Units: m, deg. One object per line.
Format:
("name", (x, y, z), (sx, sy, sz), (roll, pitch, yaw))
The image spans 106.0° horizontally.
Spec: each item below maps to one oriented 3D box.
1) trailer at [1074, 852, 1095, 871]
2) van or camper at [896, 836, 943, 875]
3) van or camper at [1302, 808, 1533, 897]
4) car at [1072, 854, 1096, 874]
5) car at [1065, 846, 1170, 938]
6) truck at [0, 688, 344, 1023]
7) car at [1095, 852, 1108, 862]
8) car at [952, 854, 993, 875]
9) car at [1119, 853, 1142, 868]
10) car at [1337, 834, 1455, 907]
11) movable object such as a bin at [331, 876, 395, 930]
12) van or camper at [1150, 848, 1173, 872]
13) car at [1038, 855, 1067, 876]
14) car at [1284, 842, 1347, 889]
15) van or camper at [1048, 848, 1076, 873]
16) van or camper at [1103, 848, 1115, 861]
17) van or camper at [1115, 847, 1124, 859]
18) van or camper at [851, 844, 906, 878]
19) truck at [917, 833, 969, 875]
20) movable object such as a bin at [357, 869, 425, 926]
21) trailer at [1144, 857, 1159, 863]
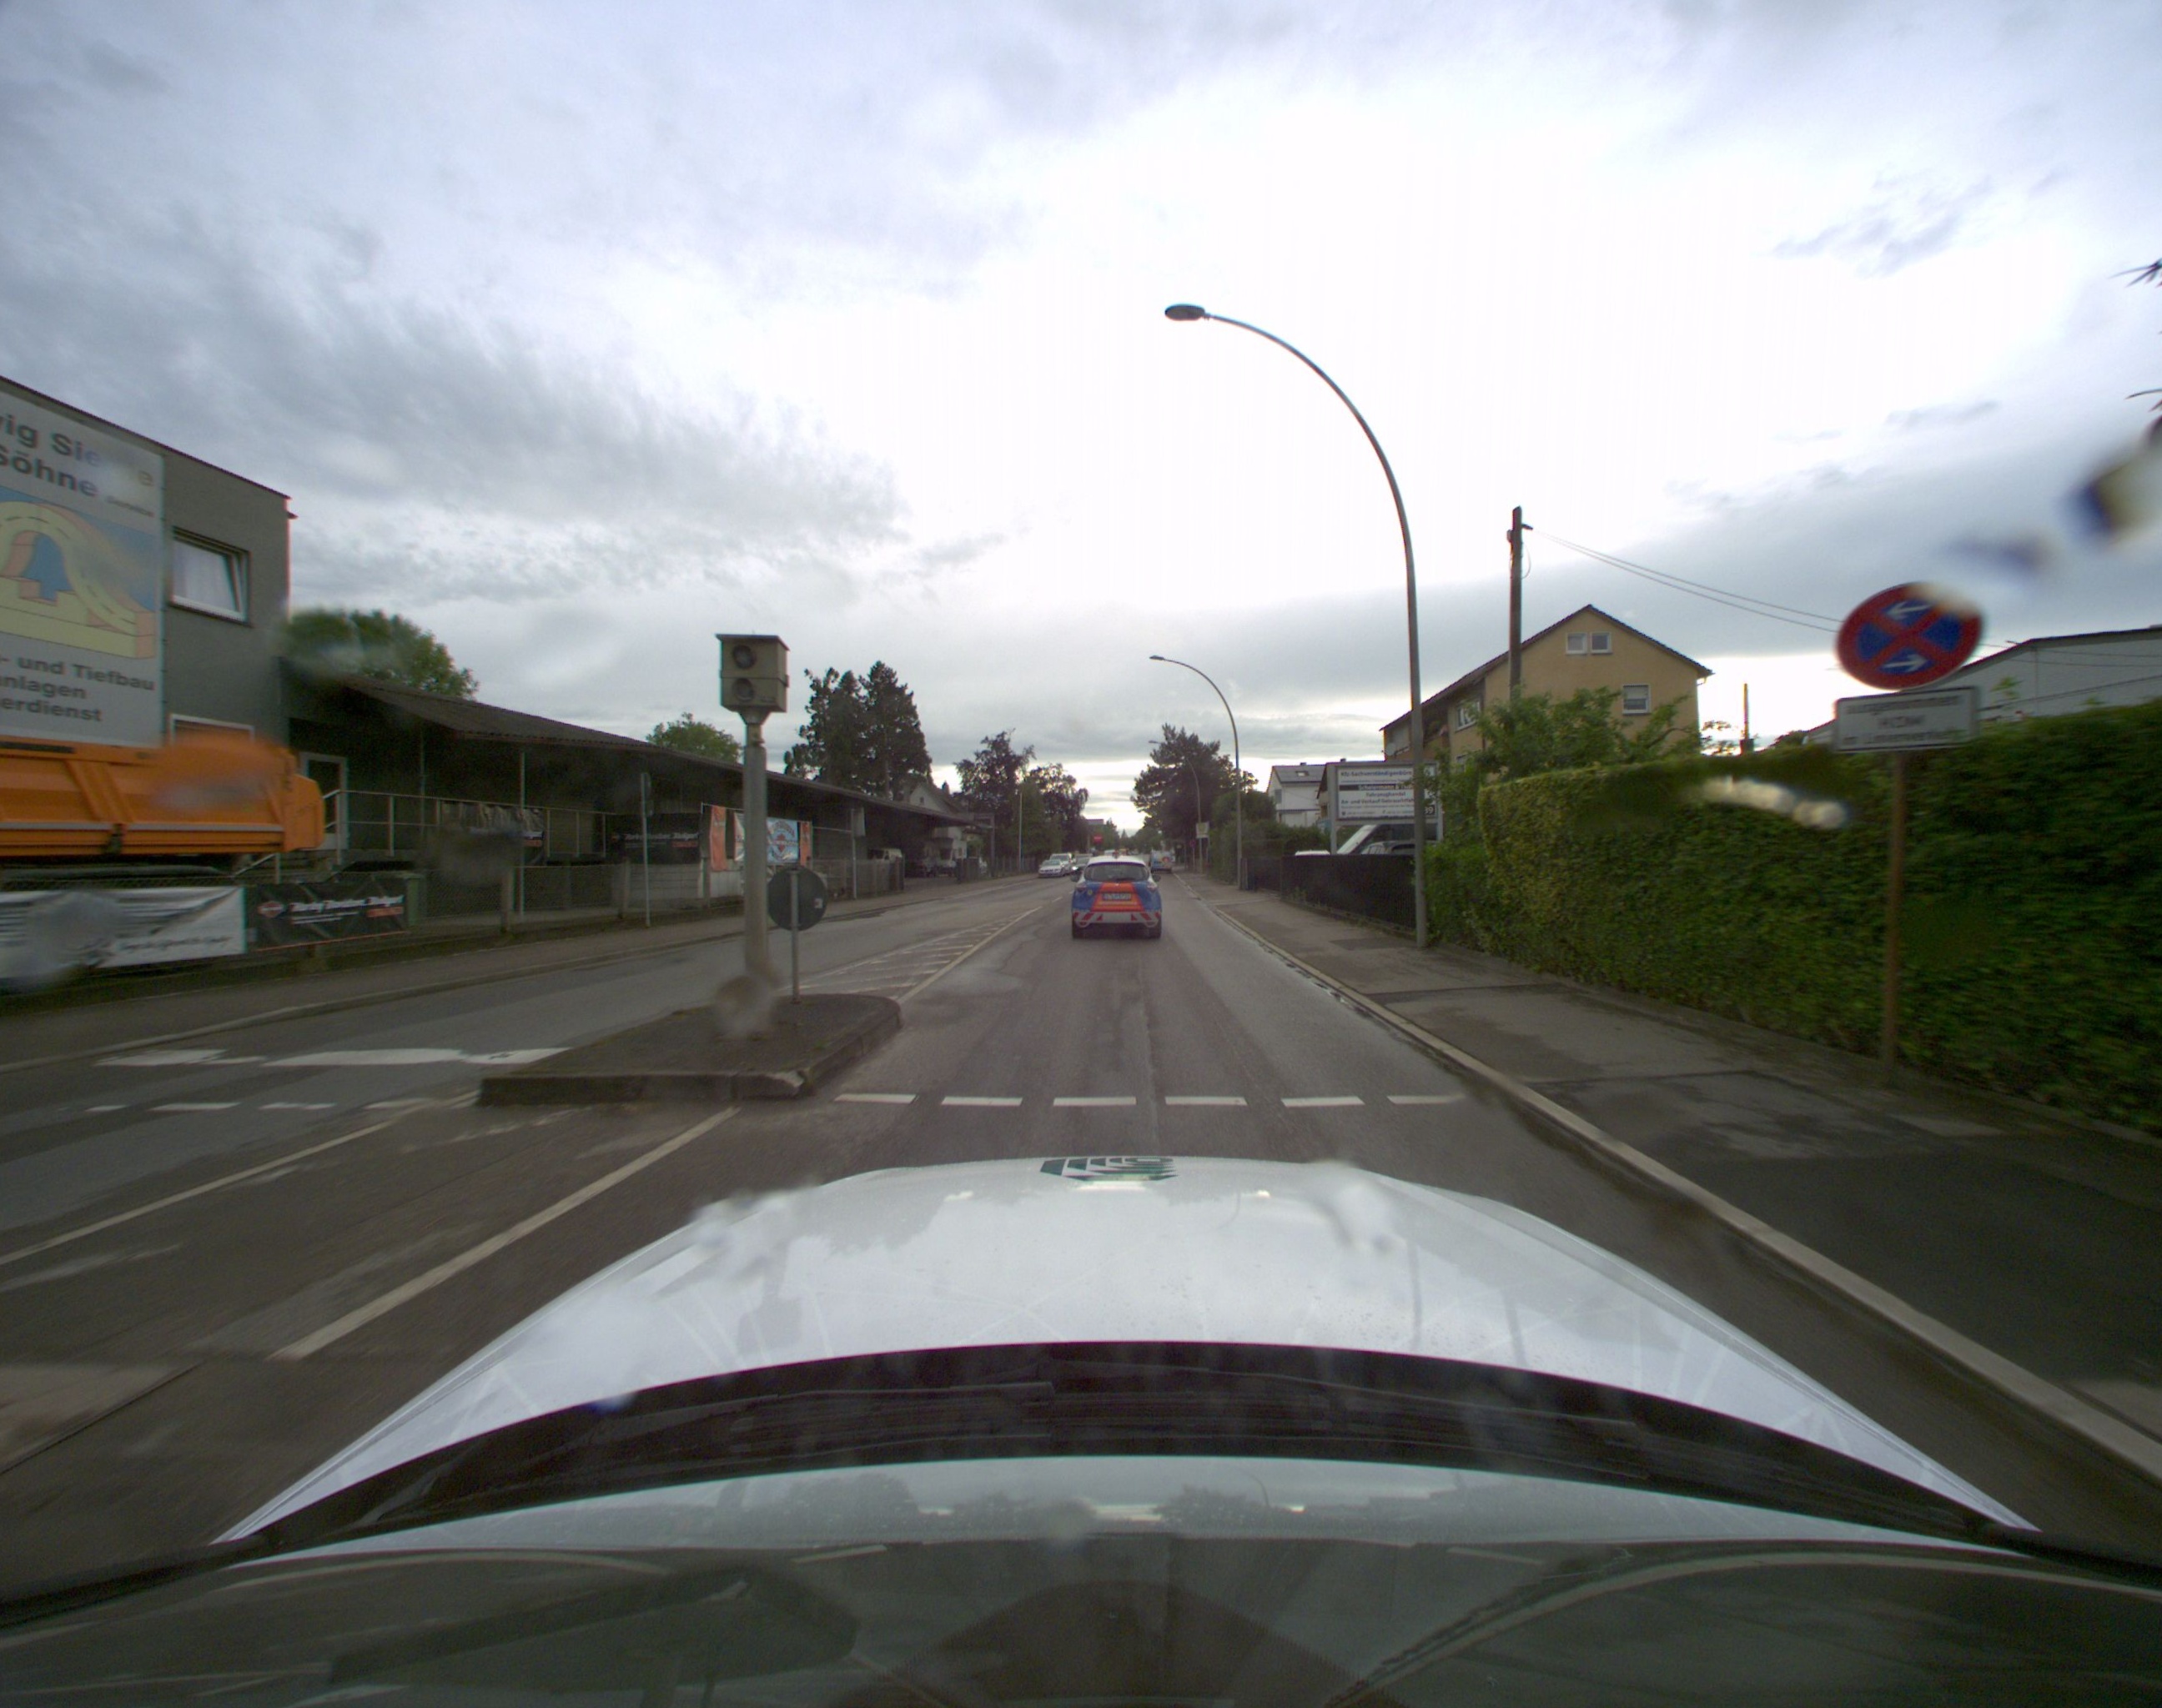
("trailer", (0.424, 0.925, 97.660), (2.211, 2.014, 4.439), (1, -2, 3))
("van or camper", (-10.939, 0.168, 55.567), (1.851, 2.438, 5.237), (2, -2, 3))
("van or camper", (9.647, -0.008, 23.786), (5.877, 2.486, 2.134), (0, -2, 4))
("car", (0.283, 0.815, 64.419), (1.735, 1.451, 4.544), (1, -2, 2))
("car", (0.788, 0.694, 16.857), (1.880, 1.632, 4.004), (-1, 0, 3))
("truck", (-12.518, -0.052, 7.253), (2.683, 3.412, 9.088), (1, -2, 7))
("car", (3.253, 0.430, 128.583), (1.985, 1.596, 4.003), (-1, 0, 3))
("car", (-7.832, 0.783, 59.263), (1.927, 1.444, 4.788), (0, -1, 5))
("car", (5.045, 0.652, 82.503), (1.983, 1.420, 4.007), (-2, 1, 6))
("car", (7.628, 0.447, 20.136), (1.653, 1.567, 4.574), (1, -2, 7))
("movable object such as a bin", (-13.234, 0.896, 15.029), (0.760, 0.956, 0.478), (-1, 0, 3))
("van or camper", (6.770, 0.485, 68.709), (1.747, 1.883, 4.004), (-1, 0, 3))
("car", (-2.188, 0.938, 64.064), (1.734, 1.480, 4.189), (-3, -2, 5))
("car", (8.984, 0.500, 31.309), (2.105, 1.651, 5.256), (1, -2, 15))
("van or camper", (-1.591, 0.623, 70.701), (1.882, 2.014, 5.102), (1, -2, 4))
("van or camper", (5.232, 0.169, 152.252), (2.152, 2.353, 4.337), (-1, 0, 3))
("van or camper", (9.096, -0.273, 192.452), (1.985, 2.775, 5.445), (-1, 0, 3))
("van or camper", (-12.043, 0.409, 48.724), (1.986, 1.909, 4.474), (1, 0, 2))
("truck", (-10.262, 0.045, 61.267), (2.383, 2.927, 5.964), (1, -1, 4))
("movable object such as a bin", (-13.208, 0.816, 15.601), (0.760, 1.056, 0.625), (-1, 0, 3))
("trailer", (9.557, 0.840, 110.659), (1.930, 0.754, 2.862), (-1, 0, 3))
